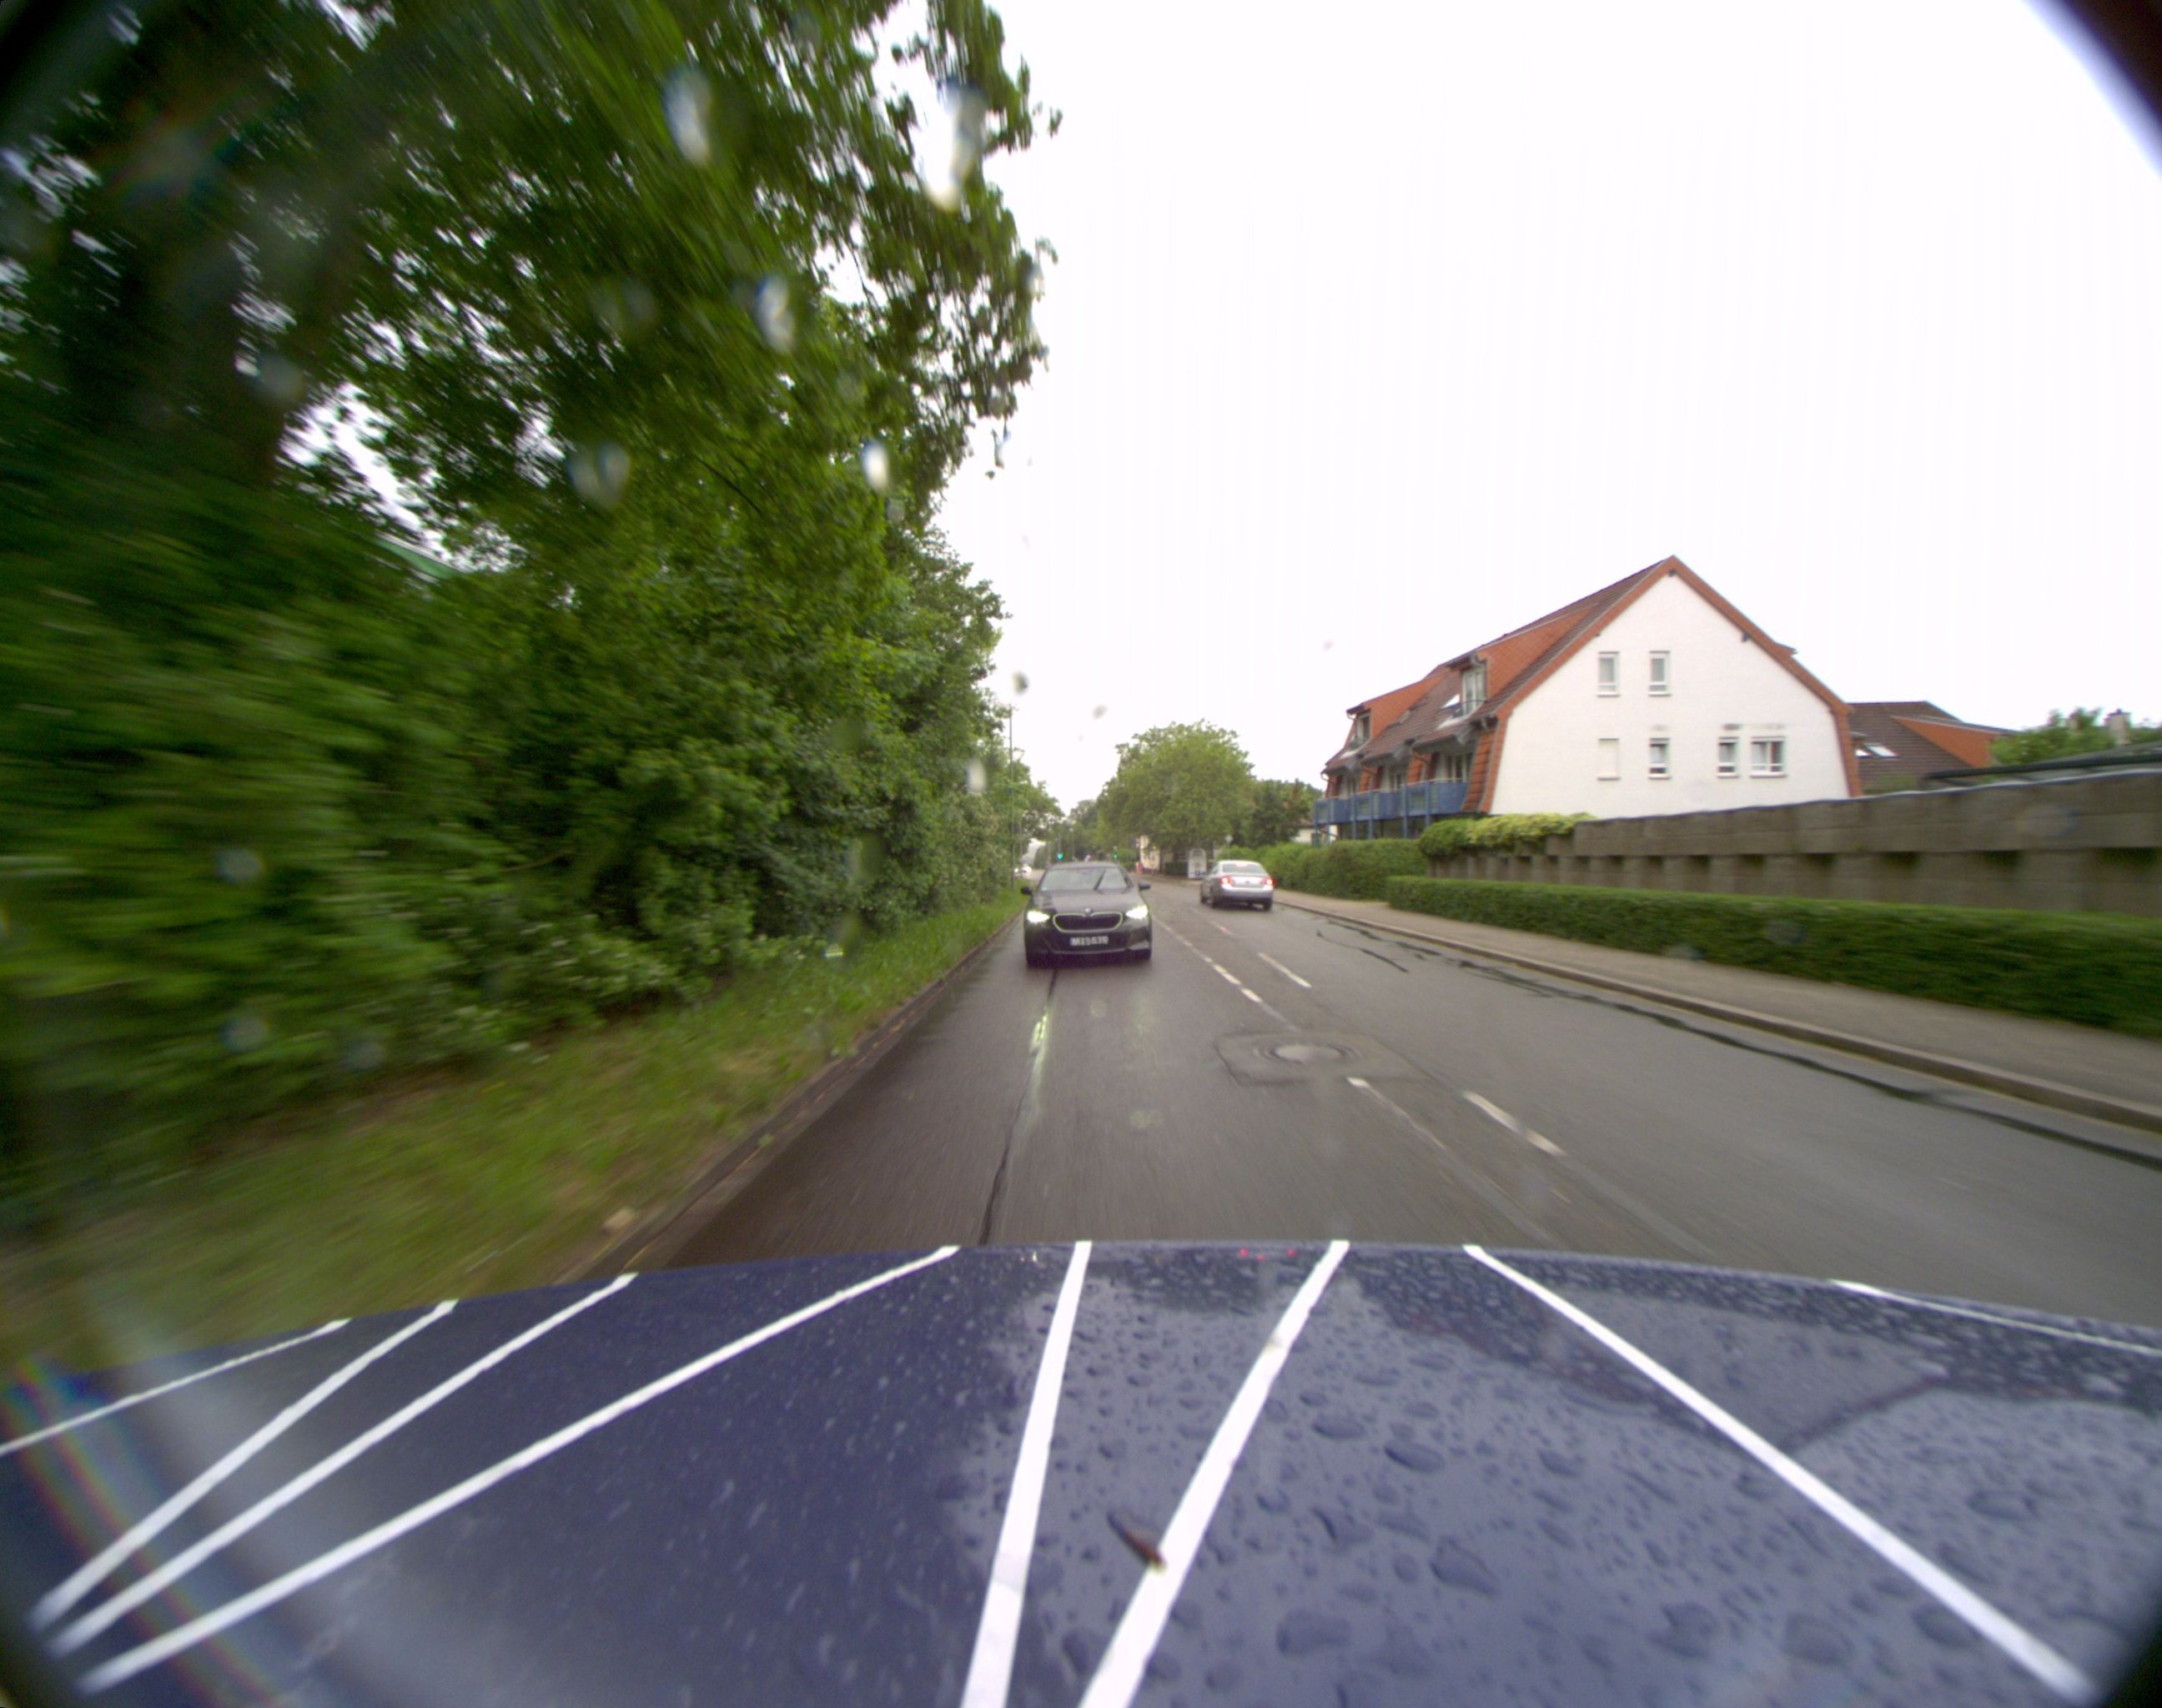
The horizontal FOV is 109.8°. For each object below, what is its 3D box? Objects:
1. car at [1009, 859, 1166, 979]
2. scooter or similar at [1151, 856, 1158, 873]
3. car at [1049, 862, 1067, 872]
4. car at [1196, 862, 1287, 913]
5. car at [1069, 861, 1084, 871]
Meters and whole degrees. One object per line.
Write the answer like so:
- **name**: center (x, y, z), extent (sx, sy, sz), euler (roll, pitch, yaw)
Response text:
- **car**: center (-0.093, 0.927, 12.532), extent (2.000, 1.586, 4.145), euler (-1, -1, -8)
- **scooter or similar**: center (7.698, 1.057, 79.750), extent (0.402, 1.765, 1.511), euler (-2, 1, -8)
- **car**: center (-3.836, 2.160, 124.598), extent (2.001, 1.651, 4.298), euler (0, -1, -16)
- **car**: center (4.876, 0.973, 23.768), extent (1.998, 1.411, 4.486), euler (1, 0, 1)
- **car**: center (-0.679, 1.861, 117.706), extent (1.999, 1.420, 4.388), euler (4, -2, -4)
